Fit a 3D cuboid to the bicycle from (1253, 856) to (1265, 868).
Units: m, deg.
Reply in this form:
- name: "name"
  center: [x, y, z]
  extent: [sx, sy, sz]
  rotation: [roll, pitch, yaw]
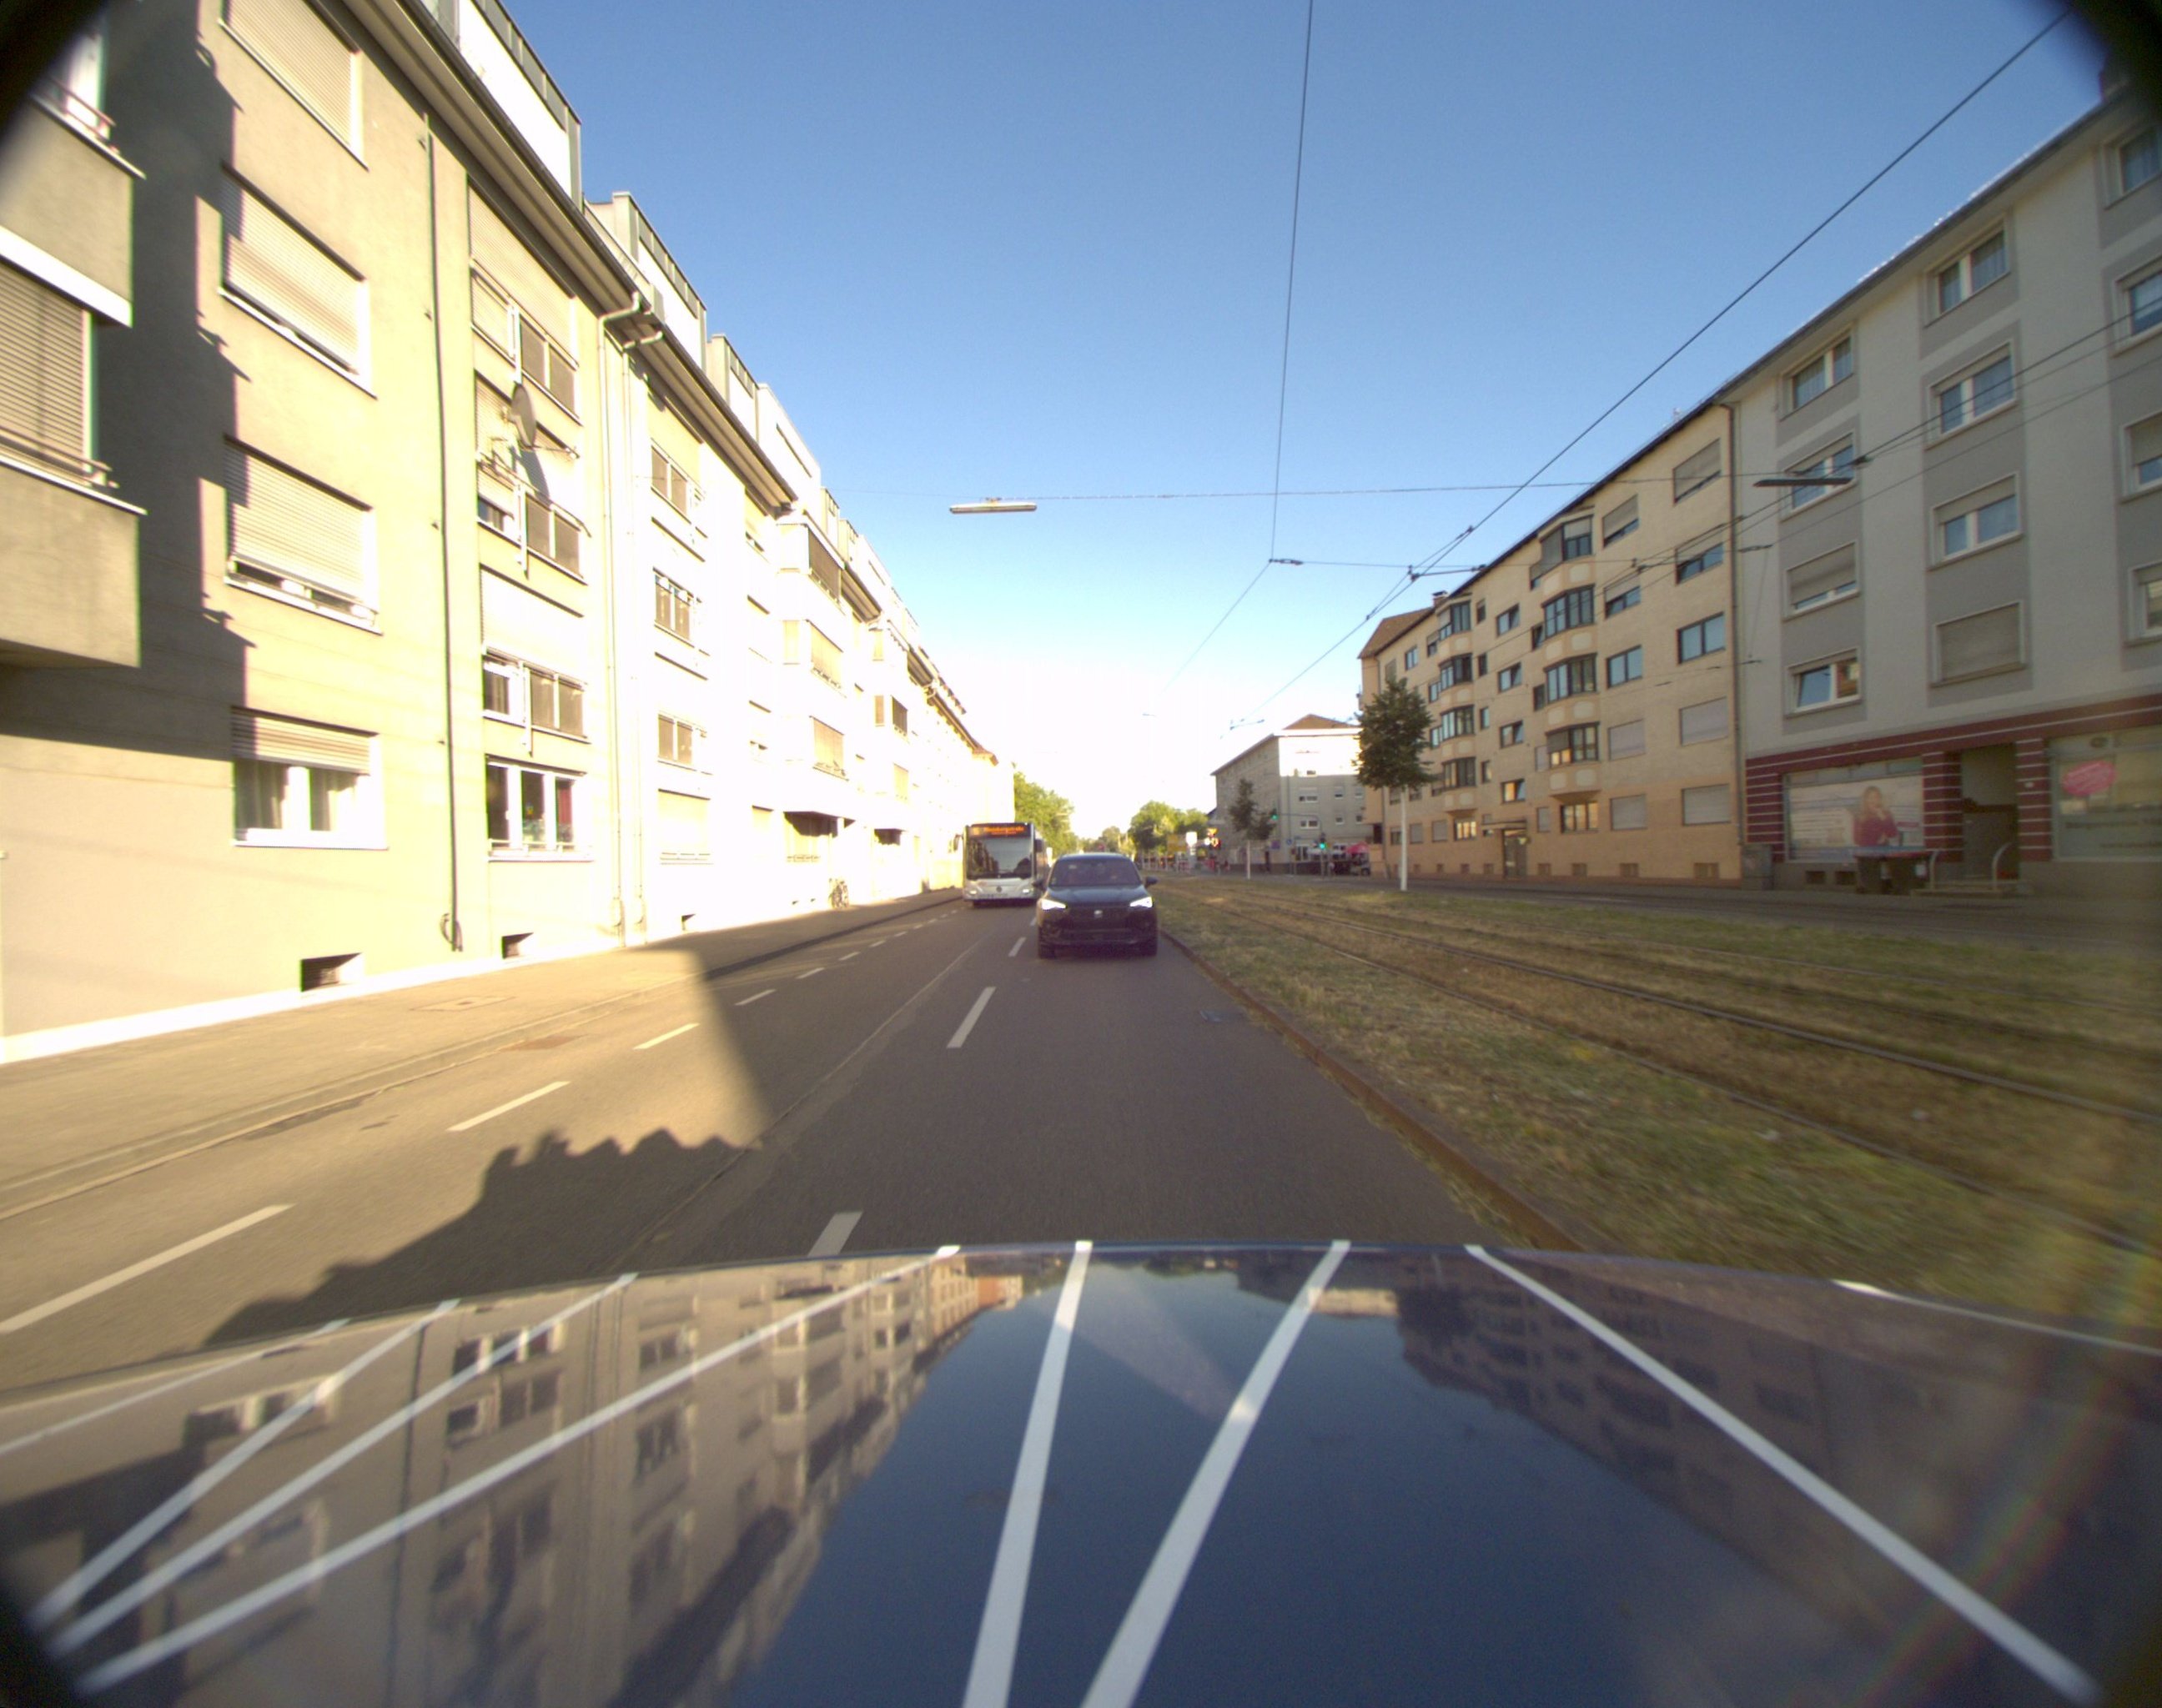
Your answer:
- name: "bicycle"
  center: [21.230, 0.962, 90.694]
  extent: [0.579, 1.370, 3.236]
  rotation: [-1, 0, -1]

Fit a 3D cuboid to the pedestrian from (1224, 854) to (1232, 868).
- name: "pedestrian"
  center: [19.048, 0.896, 98.682]
  extent: [0.742, 1.730, 1.226]
  rotation: [-2, 0, -1]

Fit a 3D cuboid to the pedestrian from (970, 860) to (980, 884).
- name: "pedestrian"
  center: [-7.621, 1.302, 54.774]
  extent: [0.648, 1.721, 0.558]
  rotation: [1, 0, 0]

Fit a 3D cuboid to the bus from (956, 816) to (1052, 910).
- name: "bus"
  center: [-2.792, 0.327, 30.818]
  extent: [2.731, 3.059, 10.600]
  rotation: [-2, 0, 0]

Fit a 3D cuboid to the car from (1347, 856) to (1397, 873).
- name: "car"
  center: [27.941, 0.977, 73.132]
  extent: [3.998, 1.499, 1.999]
  rotation: [-2, 0, -4]

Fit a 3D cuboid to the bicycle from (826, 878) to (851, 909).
- name: "bicycle"
  center: [-8.223, 1.314, 25.800]
  extent: [0.279, 0.965, 1.730]
  rotation: [1, 0, -1]

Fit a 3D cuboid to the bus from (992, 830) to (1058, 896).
- name: "bus"
  center: [-2.821, 0.455, 41.422]
  extent: [2.712, 3.059, 10.600]
  rotation: [-2, 0, 0]

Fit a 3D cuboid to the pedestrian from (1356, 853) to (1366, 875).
- name: "pedestrian"
  center: [23.288, 0.823, 63.152]
  extent: [0.634, 1.760, 0.826]
  rotation: [-1, 0, 30]

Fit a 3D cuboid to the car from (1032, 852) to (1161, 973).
- name: "car"
  center: [0.280, 0.836, 12.945]
  extent: [1.788, 1.615, 4.216]
  rotation: [-2, 1, 2]

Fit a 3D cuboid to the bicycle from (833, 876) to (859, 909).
- name: "bicycle"
  center: [-7.865, 1.286, 25.460]
  extent: [0.360, 1.026, 1.730]
  rotation: [1, 0, -1]

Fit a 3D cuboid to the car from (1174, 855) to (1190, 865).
- name: "car"
  center: [15.818, 0.989, 119.447]
  extent: [1.922, 1.581, 4.469]
  rotation: [-1, -1, 0]

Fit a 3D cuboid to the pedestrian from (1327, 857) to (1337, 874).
- name: "pedestrian"
  center: [21.601, 0.984, 65.481]
  extent: [0.624, 1.481, 0.582]
  rotation: [-2, 1, -1]
